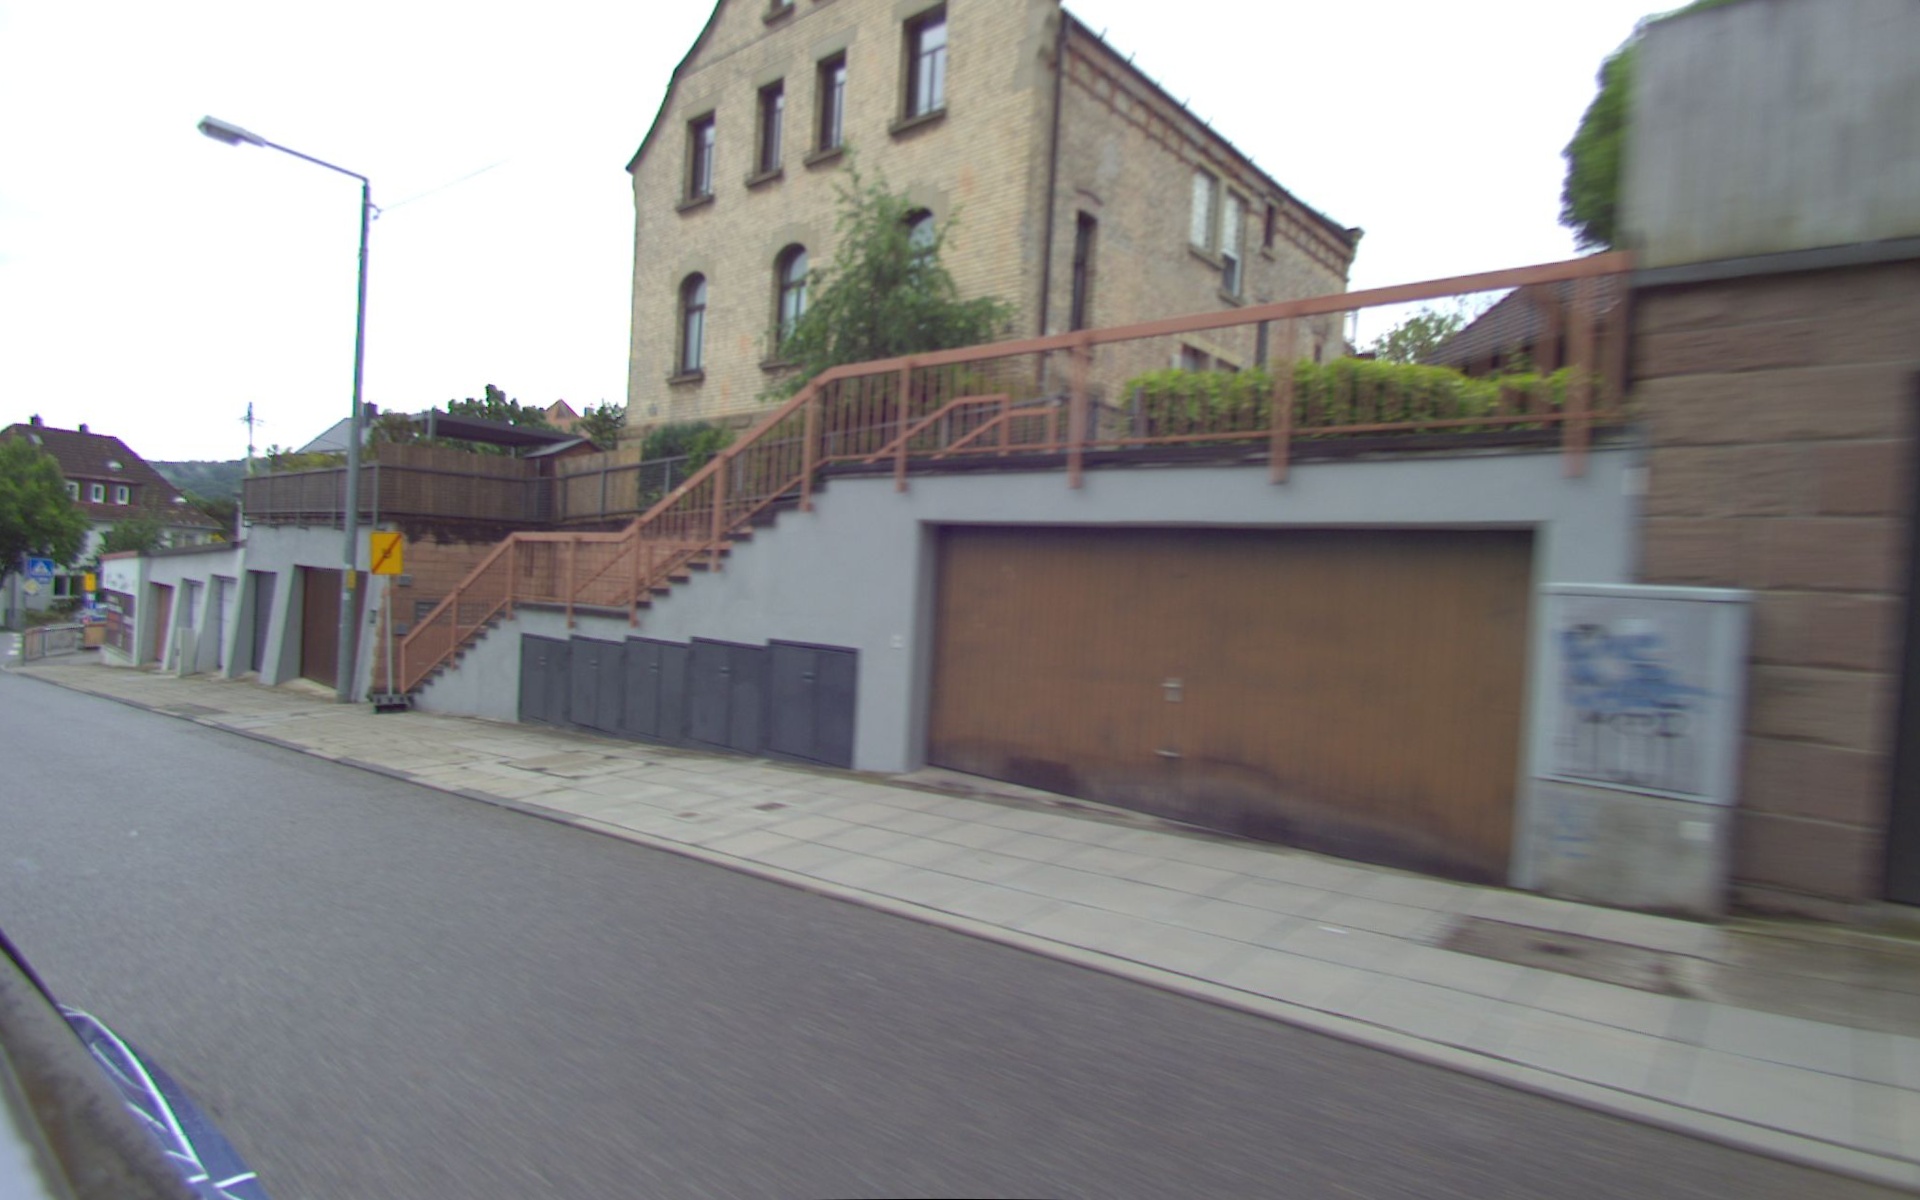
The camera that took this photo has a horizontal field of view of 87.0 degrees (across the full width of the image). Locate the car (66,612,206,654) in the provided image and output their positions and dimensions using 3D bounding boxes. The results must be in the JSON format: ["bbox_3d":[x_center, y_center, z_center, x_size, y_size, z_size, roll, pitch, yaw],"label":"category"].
[{"bbox_3d":[-35.705,1.387,43.956,1.998,1.497,4.429,3,3,39],"label":"car"}]
